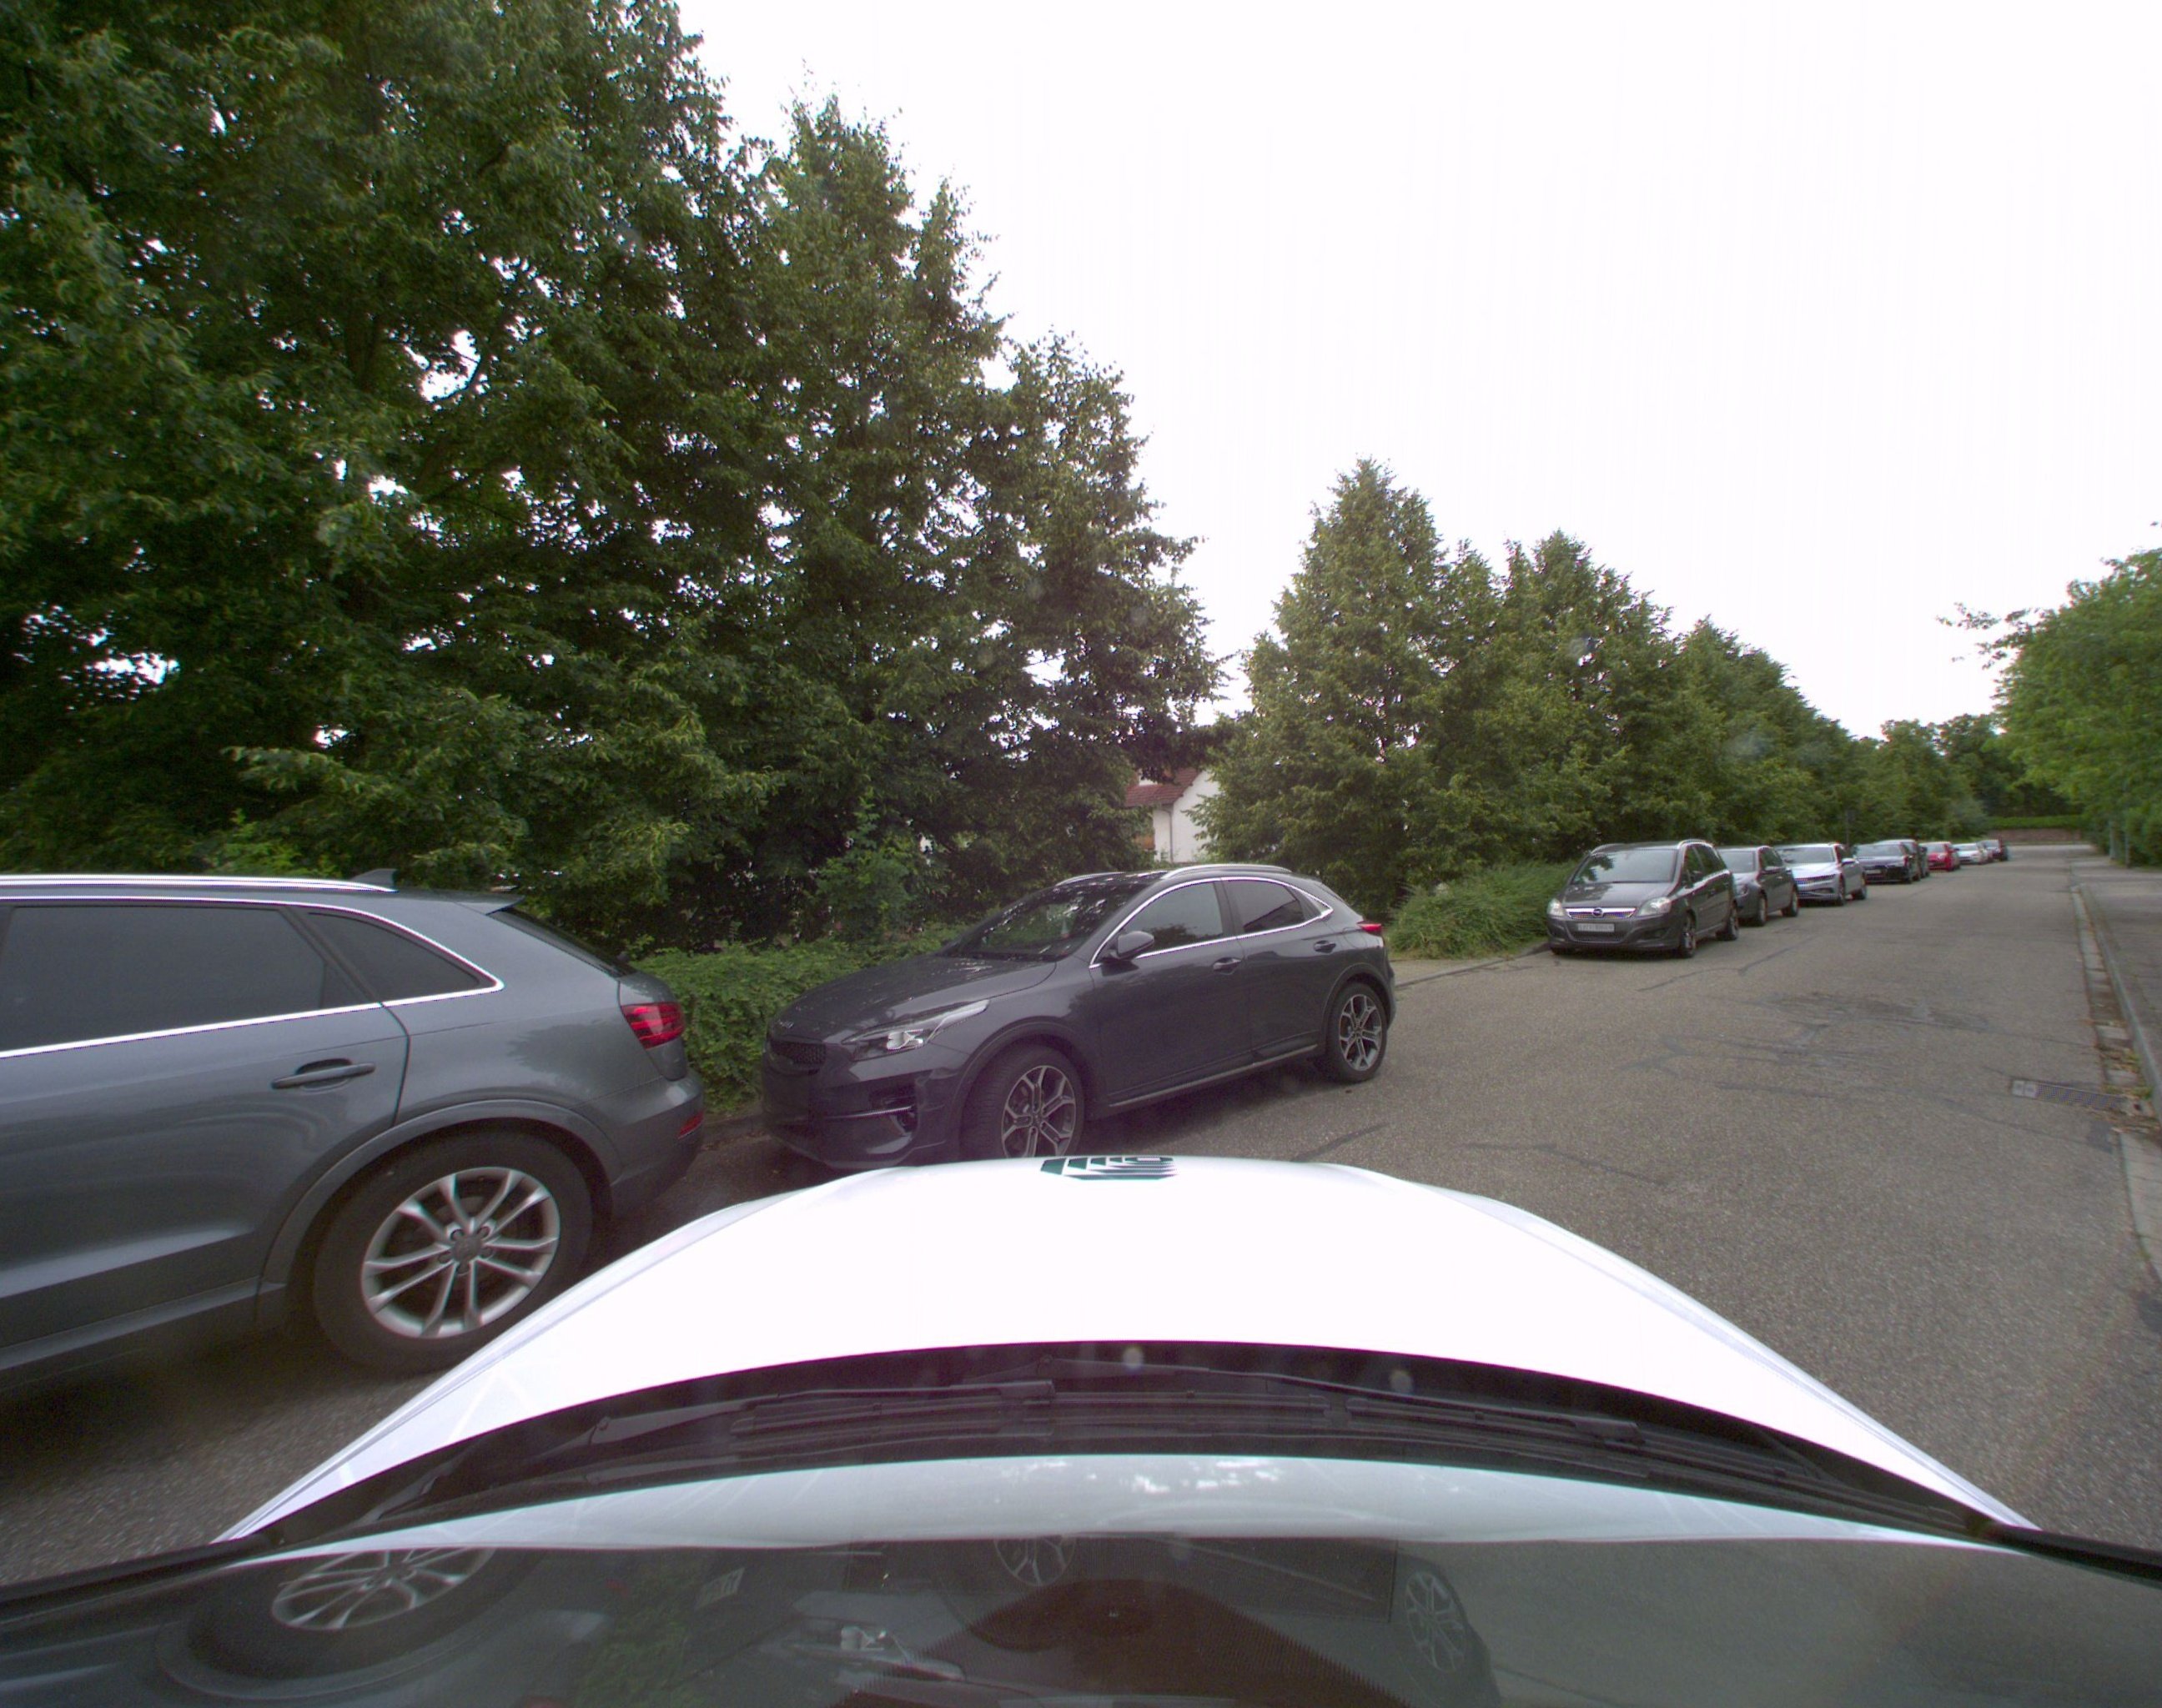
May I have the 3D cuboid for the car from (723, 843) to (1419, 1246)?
[{"bbox_3d":[0.190,0.774,5.200,4.215,1.531,1.727,-1,-2,-38],"label":"car"}]

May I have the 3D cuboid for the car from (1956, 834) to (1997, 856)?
[{"bbox_3d":[64.561,-0.672,58.698,4.020,1.519,1.737,-1,0,-39],"label":"car"}]

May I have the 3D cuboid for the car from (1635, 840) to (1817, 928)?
[{"bbox_3d":[12.721,0.541,15.976,4.326,1.478,1.743,-1,-3,-38],"label":"car"}]

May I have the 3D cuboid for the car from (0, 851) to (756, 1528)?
[{"bbox_3d":[-3.393,0.833,2.244,4.275,1.531,1.726,-1,-3,-43],"label":"car"}]

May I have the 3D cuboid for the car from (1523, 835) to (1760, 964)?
[{"bbox_3d":[8.598,0.586,12.324,4.576,1.594,1.742,-1,-3,-40],"label":"car"}]

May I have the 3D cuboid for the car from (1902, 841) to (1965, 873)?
[{"bbox_3d":[42.277,0.132,40.357,4.020,1.425,1.737,-1,-2,-39],"label":"car"}]

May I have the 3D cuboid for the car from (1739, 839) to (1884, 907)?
[{"bbox_3d":[17.699,0.434,19.663,4.500,1.428,1.761,-1,-2,-38],"label":"car"}]

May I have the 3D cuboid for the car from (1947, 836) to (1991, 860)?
[{"bbox_3d":[59.764,-0.443,54.781,4.020,1.519,1.737,-1,0,-39],"label":"car"}]

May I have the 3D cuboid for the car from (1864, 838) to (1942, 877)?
[{"bbox_3d":[33.255,0.124,32.913,4.020,1.425,1.737,-1,-2,-39],"label":"car"}]

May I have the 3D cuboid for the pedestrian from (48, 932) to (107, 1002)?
[{"bbox_3d":[-23.578,2.629,19.149,0.433,1.517,0.822,-3,-1,45],"label":"pedestrian"}]

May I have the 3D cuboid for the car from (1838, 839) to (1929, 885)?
[{"bbox_3d":[27.946,0.261,28.318,4.020,1.425,1.737,-1,-2,-39],"label":"car"}]

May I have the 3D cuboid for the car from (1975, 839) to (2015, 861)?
[{"bbox_3d":[68.651,-0.314,61.141,4.020,1.519,1.737,-1,-2,-39],"label":"car"}]
